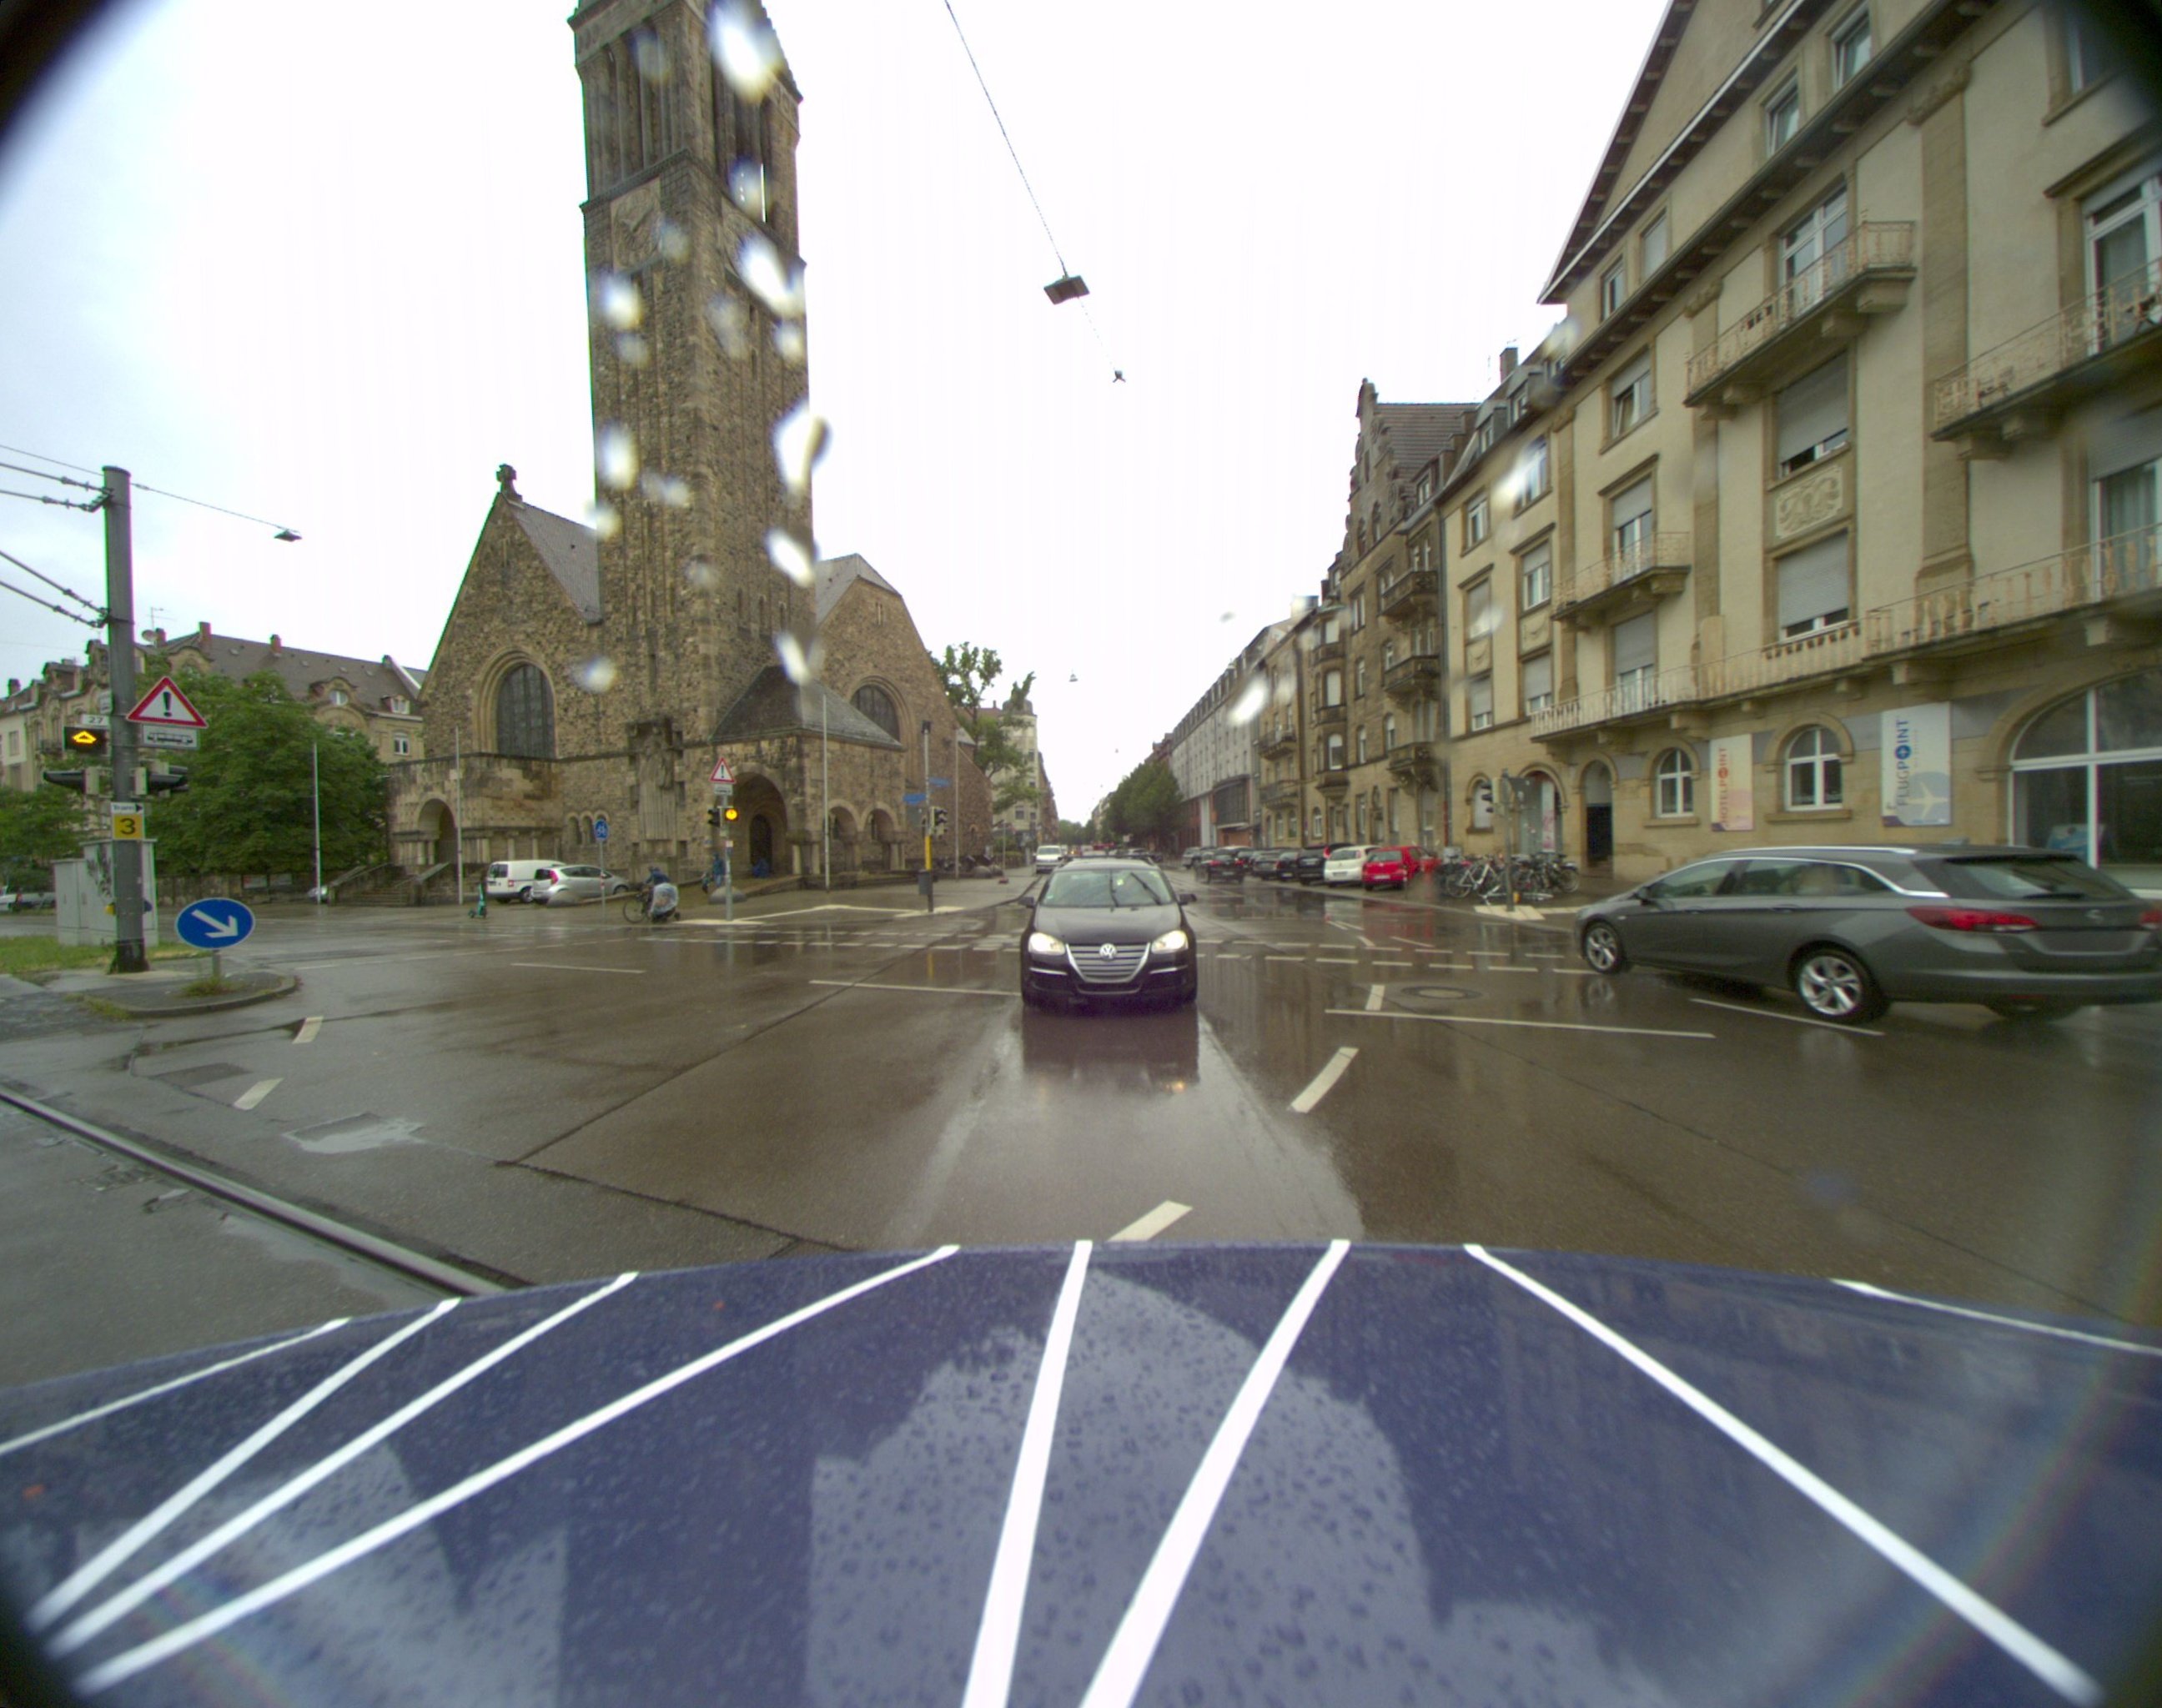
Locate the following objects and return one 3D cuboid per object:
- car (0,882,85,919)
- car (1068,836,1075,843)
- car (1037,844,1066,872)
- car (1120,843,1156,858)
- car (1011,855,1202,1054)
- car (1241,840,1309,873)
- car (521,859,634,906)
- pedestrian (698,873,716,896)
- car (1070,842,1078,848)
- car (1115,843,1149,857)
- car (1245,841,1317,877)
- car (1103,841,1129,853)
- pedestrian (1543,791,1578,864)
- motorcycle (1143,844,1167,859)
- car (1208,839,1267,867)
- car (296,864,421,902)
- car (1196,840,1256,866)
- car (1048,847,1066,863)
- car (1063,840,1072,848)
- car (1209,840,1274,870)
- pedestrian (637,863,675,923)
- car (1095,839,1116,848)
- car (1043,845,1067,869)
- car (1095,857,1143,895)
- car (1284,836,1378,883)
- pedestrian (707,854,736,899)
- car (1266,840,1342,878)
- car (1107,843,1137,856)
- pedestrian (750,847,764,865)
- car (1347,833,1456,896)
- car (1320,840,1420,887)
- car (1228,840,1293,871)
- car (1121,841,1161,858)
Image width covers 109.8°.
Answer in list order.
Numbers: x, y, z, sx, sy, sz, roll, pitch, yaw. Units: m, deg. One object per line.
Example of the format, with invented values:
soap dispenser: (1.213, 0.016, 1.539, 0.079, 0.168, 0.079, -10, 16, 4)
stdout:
car: (-55.139, 2.426, 40.095, 3.991, 1.784, 1.983, -1, 1, 20)
car: (-2.870, -4.362, 229.709, 1.838, 1.827, 4.000, -1, 1, 3)
car: (-2.089, 0.217, 55.470, 1.909, 1.912, 5.271, -1, 1, 0)
car: (6.772, -0.477, 90.410, 3.803, 1.705, 1.998, -1, 1, -11)
car: (0.203, 0.836, 8.322, 1.547, 1.554, 4.070, -1, 1, 0)
car: (10.492, 0.133, 41.016, 3.449, 1.535, 1.624, -4, 1, -36)
car: (-20.789, 1.146, 31.509, 1.732, 1.566, 3.362, -1, 4, 26)
pedestrian: (-14.889, 1.216, 30.222, 0.455, 0.879, 0.397, -1, 1, 20)
car: (-1.866, -2.418, 206.725, 1.998, 1.705, 4.375, -1, 1, 3)
car: (6.293, -0.489, 93.493, 3.803, 1.705, 1.998, -1, 1, -11)
car: (9.944, 0.241, 37.680, 3.435, 1.535, 1.697, -4, 1, -40)
car: (5.840, -1.164, 126.749, 4.006, 2.002, 1.995, -2, 1, -29)
pedestrian: (15.749, -0.848, 24.975, 0.846, 2.326, 0.765, -1, 1, 22)
motorcycle: (7.334, -0.231, 75.623, 2.255, 1.302, 0.758, -3, 1, 0)
car: (10.333, -0.083, 50.142, 3.733, 1.617, 1.774, -4, 1, -38)
car: (-35.986, 1.423, 37.973, 1.995, 1.609, 4.006, -1, 1, 24)
car: (10.115, -0.089, 52.953, 3.732, 1.519, 1.897, -6, 3, -31)
car: (-2.386, 0.078, 75.207, 1.674, 1.541, 3.917, -1, 1, 0)
car: (-3.239, -2.439, 185.256, 1.998, 1.705, 3.802, -1, 1, 3)
car: (9.938, 0.061, 46.879, 3.733, 1.535, 1.774, -4, 1, -35)
pedestrian: (-12.025, 1.087, 21.519, 0.604, 1.654, 0.689, -2, 1, 3)
car: (4.967, -2.203, 154.481, 3.809, 1.705, 1.995, -2, 1, -34)
car: (-2.098, 0.200, 62.279, 1.837, 1.835, 4.294, -1, 1, 0)
car: (1.337, 0.783, 28.062, 1.547, 1.214, 3.607, -1, 1, 0)
car: (10.460, 0.202, 31.656, 4.092, 1.682, 1.759, -4, 1, -40)
pedestrian: (-13.781, 0.845, 29.137, 0.632, 1.693, 0.679, -1, 1, 20)
car: (10.243, 0.231, 34.864, 3.316, 1.516, 1.697, -4, 1, -39)
car: (5.752, -0.675, 106.376, 3.803, 1.705, 1.998, -1, 1, -11)
pedestrian: (-15.701, 0.085, 36.821, 0.395, 0.879, 0.457, -1, 1, 22)
car: (10.991, 0.320, 25.912, 4.005, 1.499, 1.799, -10, 2, -43)
car: (10.967, 0.337, 28.729, 4.001, 1.525, 1.700, -4, 1, -40)
car: (10.407, 0.074, 43.891, 3.765, 1.535, 1.624, -4, 1, -40)
car: (6.782, -0.503, 85.707, 4.005, 1.804, 1.995, -2, 1, -27)
